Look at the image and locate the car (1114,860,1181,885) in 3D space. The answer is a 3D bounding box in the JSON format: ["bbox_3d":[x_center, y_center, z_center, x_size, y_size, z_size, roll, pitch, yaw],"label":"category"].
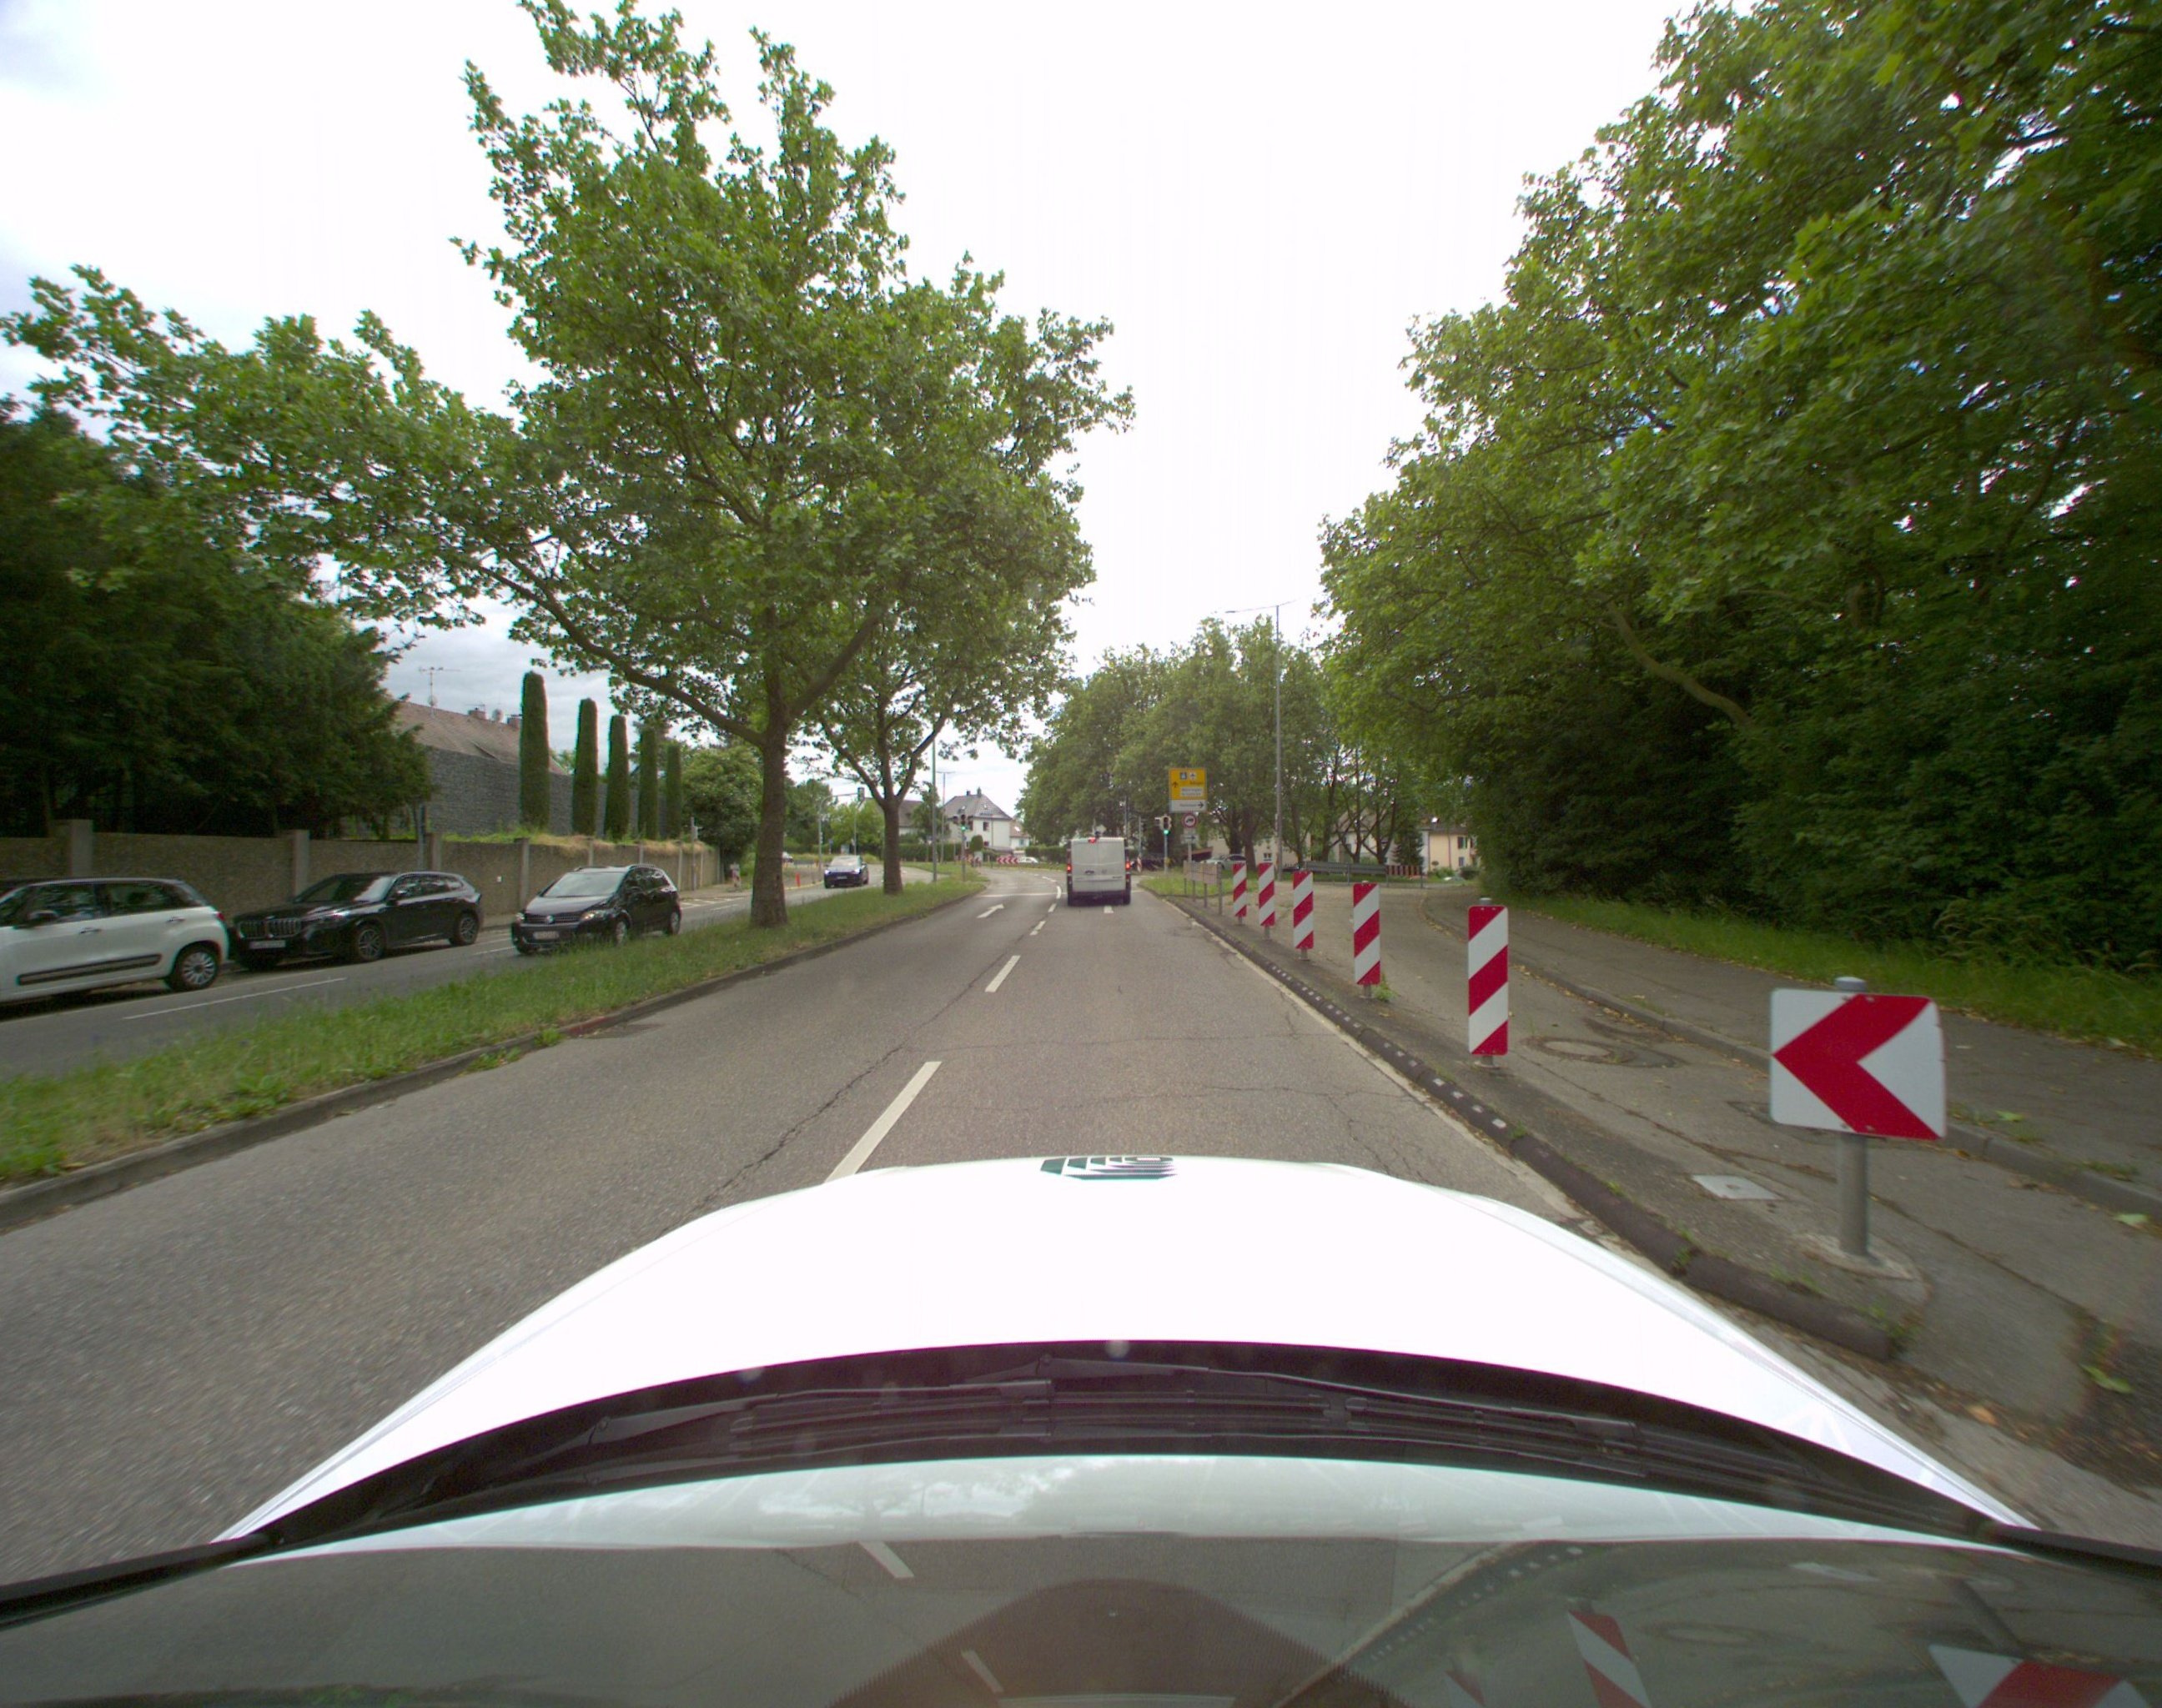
[{"bbox_3d":[4.909,1.318,59.951,4.763,1.769,1.979,0,0,-34],"label":"car"}]

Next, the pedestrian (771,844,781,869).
[{"bbox_3d":[-25.620,0.196,68.415,0.740,2.013,0.630,1,1,-15],"label":"pedestrian"}]

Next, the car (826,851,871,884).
[{"bbox_3d":[-11.997,0.702,42.300,1.949,1.625,4.412,-1,-1,-12],"label":"car"}]

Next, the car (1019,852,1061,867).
[{"bbox_3d":[-4.880,0.604,96.390,4.683,1.769,2.013,0,0,34],"label":"car"}]

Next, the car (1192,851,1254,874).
[{"bbox_3d":[11.154,0.641,63.834,4.763,1.769,1.979,0,0,-34],"label":"car"}]

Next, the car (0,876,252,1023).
[{"bbox_3d":[-13.128,1.147,10.097,1.669,1.592,4.089,-2,0,-5],"label":"car"}]

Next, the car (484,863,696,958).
[{"bbox_3d":[-9.474,0.998,16.160,1.995,1.587,3.990,-1,-1,-5],"label":"car"}]

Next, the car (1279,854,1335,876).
[{"bbox_3d":[19.183,0.928,69.082,4.763,1.769,1.979,0,0,-34],"label":"car"}]

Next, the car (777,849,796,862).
[{"bbox_3d":[-38.888,0.243,107.469,1.898,1.625,4.391,0,-1,-27],"label":"car"}]

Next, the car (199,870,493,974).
[{"bbox_3d":[-13.532,1.142,15.450,1.886,1.625,4.420,-1,-1,-7],"label":"car"}]

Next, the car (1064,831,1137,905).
[{"bbox_3d":[0.509,0.413,25.299,2.000,2.038,5.008,-1,0,-1],"label":"car"}]
